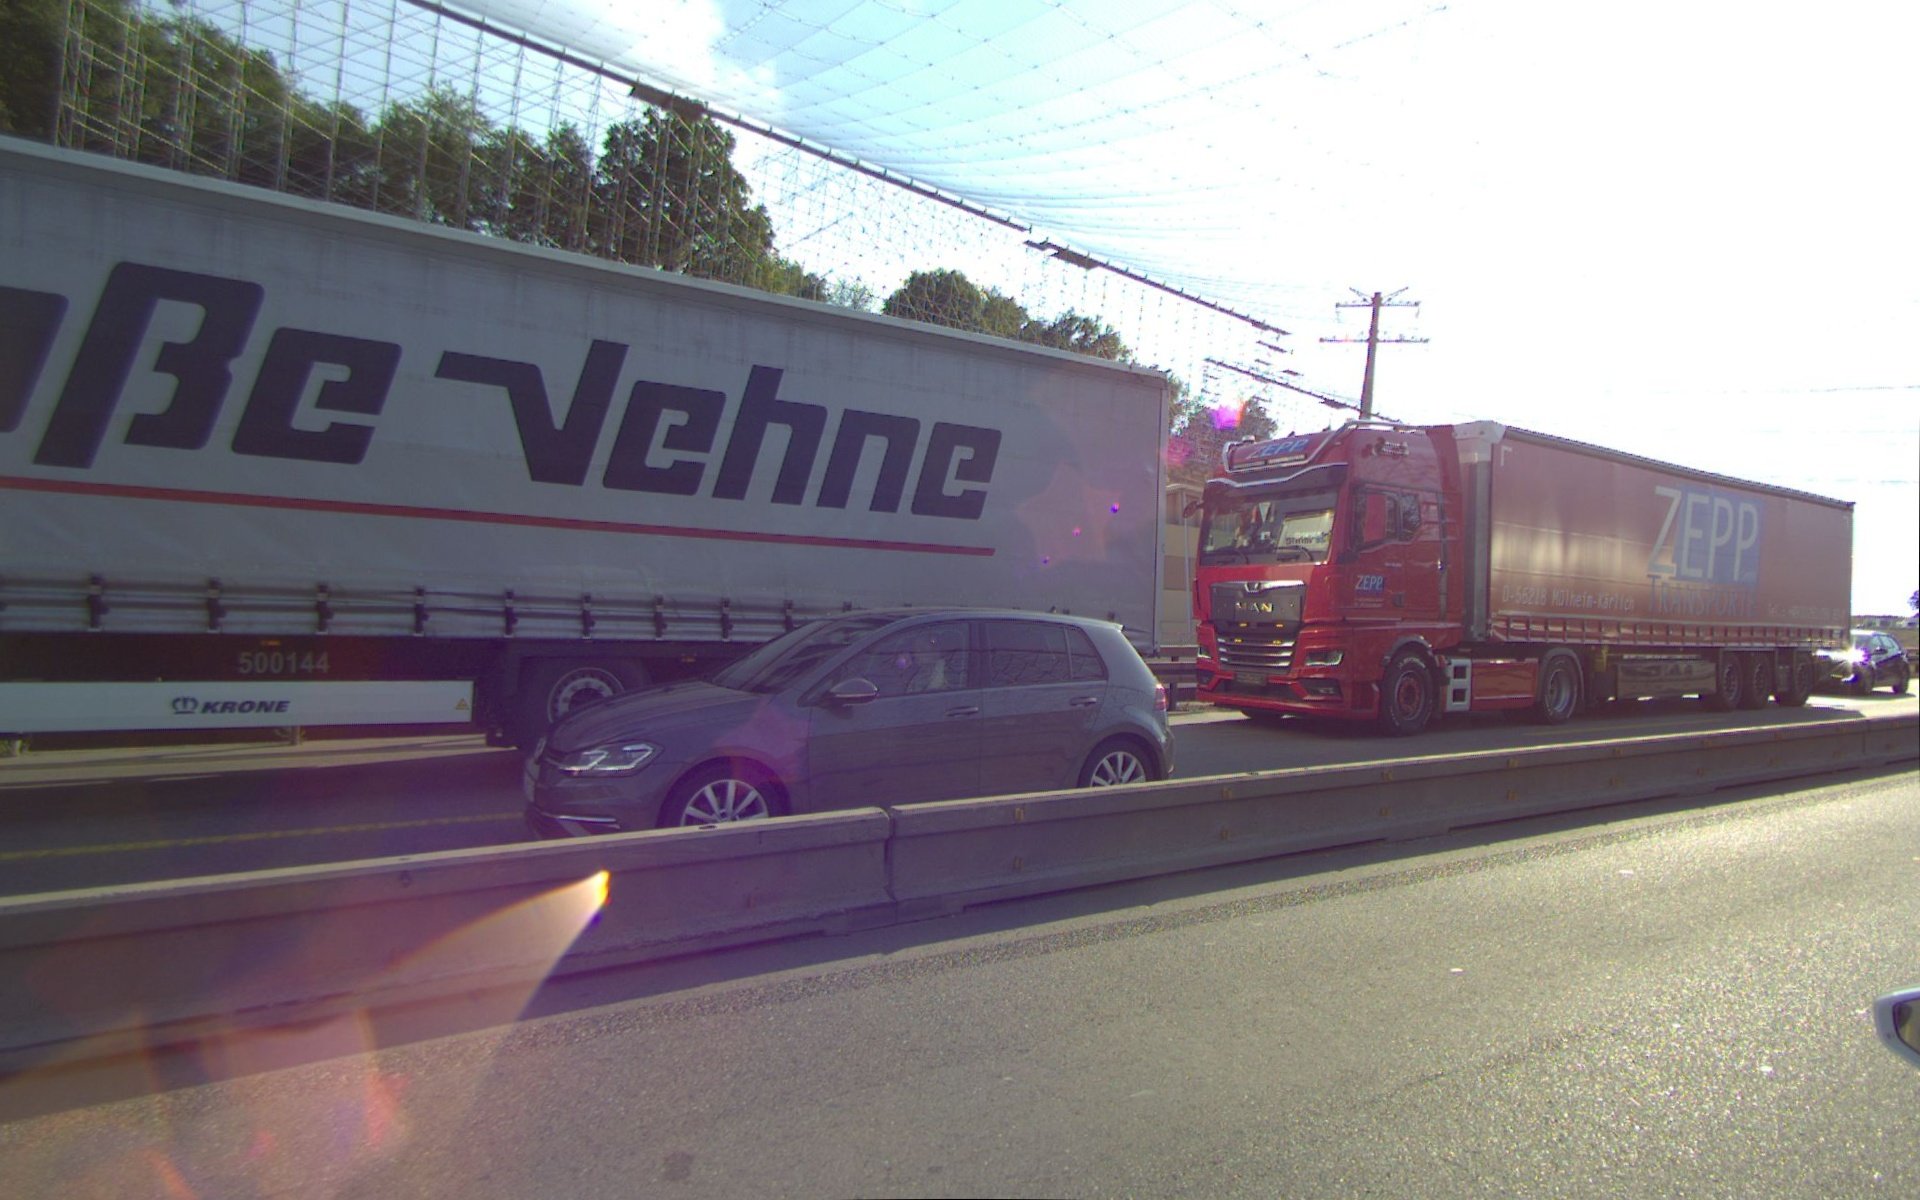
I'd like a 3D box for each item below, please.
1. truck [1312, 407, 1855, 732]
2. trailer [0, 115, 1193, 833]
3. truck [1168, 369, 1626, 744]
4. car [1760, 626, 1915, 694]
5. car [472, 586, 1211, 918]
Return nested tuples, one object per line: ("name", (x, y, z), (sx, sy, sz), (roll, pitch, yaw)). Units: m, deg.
("truck", (11.820, -0.174, 17.889), (13.663, 4.196, 2.770), (2, -1, -34))
("trailer", (-4.212, -0.654, 8.318), (13.804, 4.196, 2.785), (2, -1, -31))
("truck", (6.352, -0.382, 14.241), (6.609, 4.196, 2.771), (2, -1, -34))
("car", (21.233, 1.412, 24.272), (4.093, 1.467, 1.712), (2, 0, -33))
("car", (-0.604, 0.737, 6.367), (4.349, 1.483, 1.642), (2, 1, -31))
